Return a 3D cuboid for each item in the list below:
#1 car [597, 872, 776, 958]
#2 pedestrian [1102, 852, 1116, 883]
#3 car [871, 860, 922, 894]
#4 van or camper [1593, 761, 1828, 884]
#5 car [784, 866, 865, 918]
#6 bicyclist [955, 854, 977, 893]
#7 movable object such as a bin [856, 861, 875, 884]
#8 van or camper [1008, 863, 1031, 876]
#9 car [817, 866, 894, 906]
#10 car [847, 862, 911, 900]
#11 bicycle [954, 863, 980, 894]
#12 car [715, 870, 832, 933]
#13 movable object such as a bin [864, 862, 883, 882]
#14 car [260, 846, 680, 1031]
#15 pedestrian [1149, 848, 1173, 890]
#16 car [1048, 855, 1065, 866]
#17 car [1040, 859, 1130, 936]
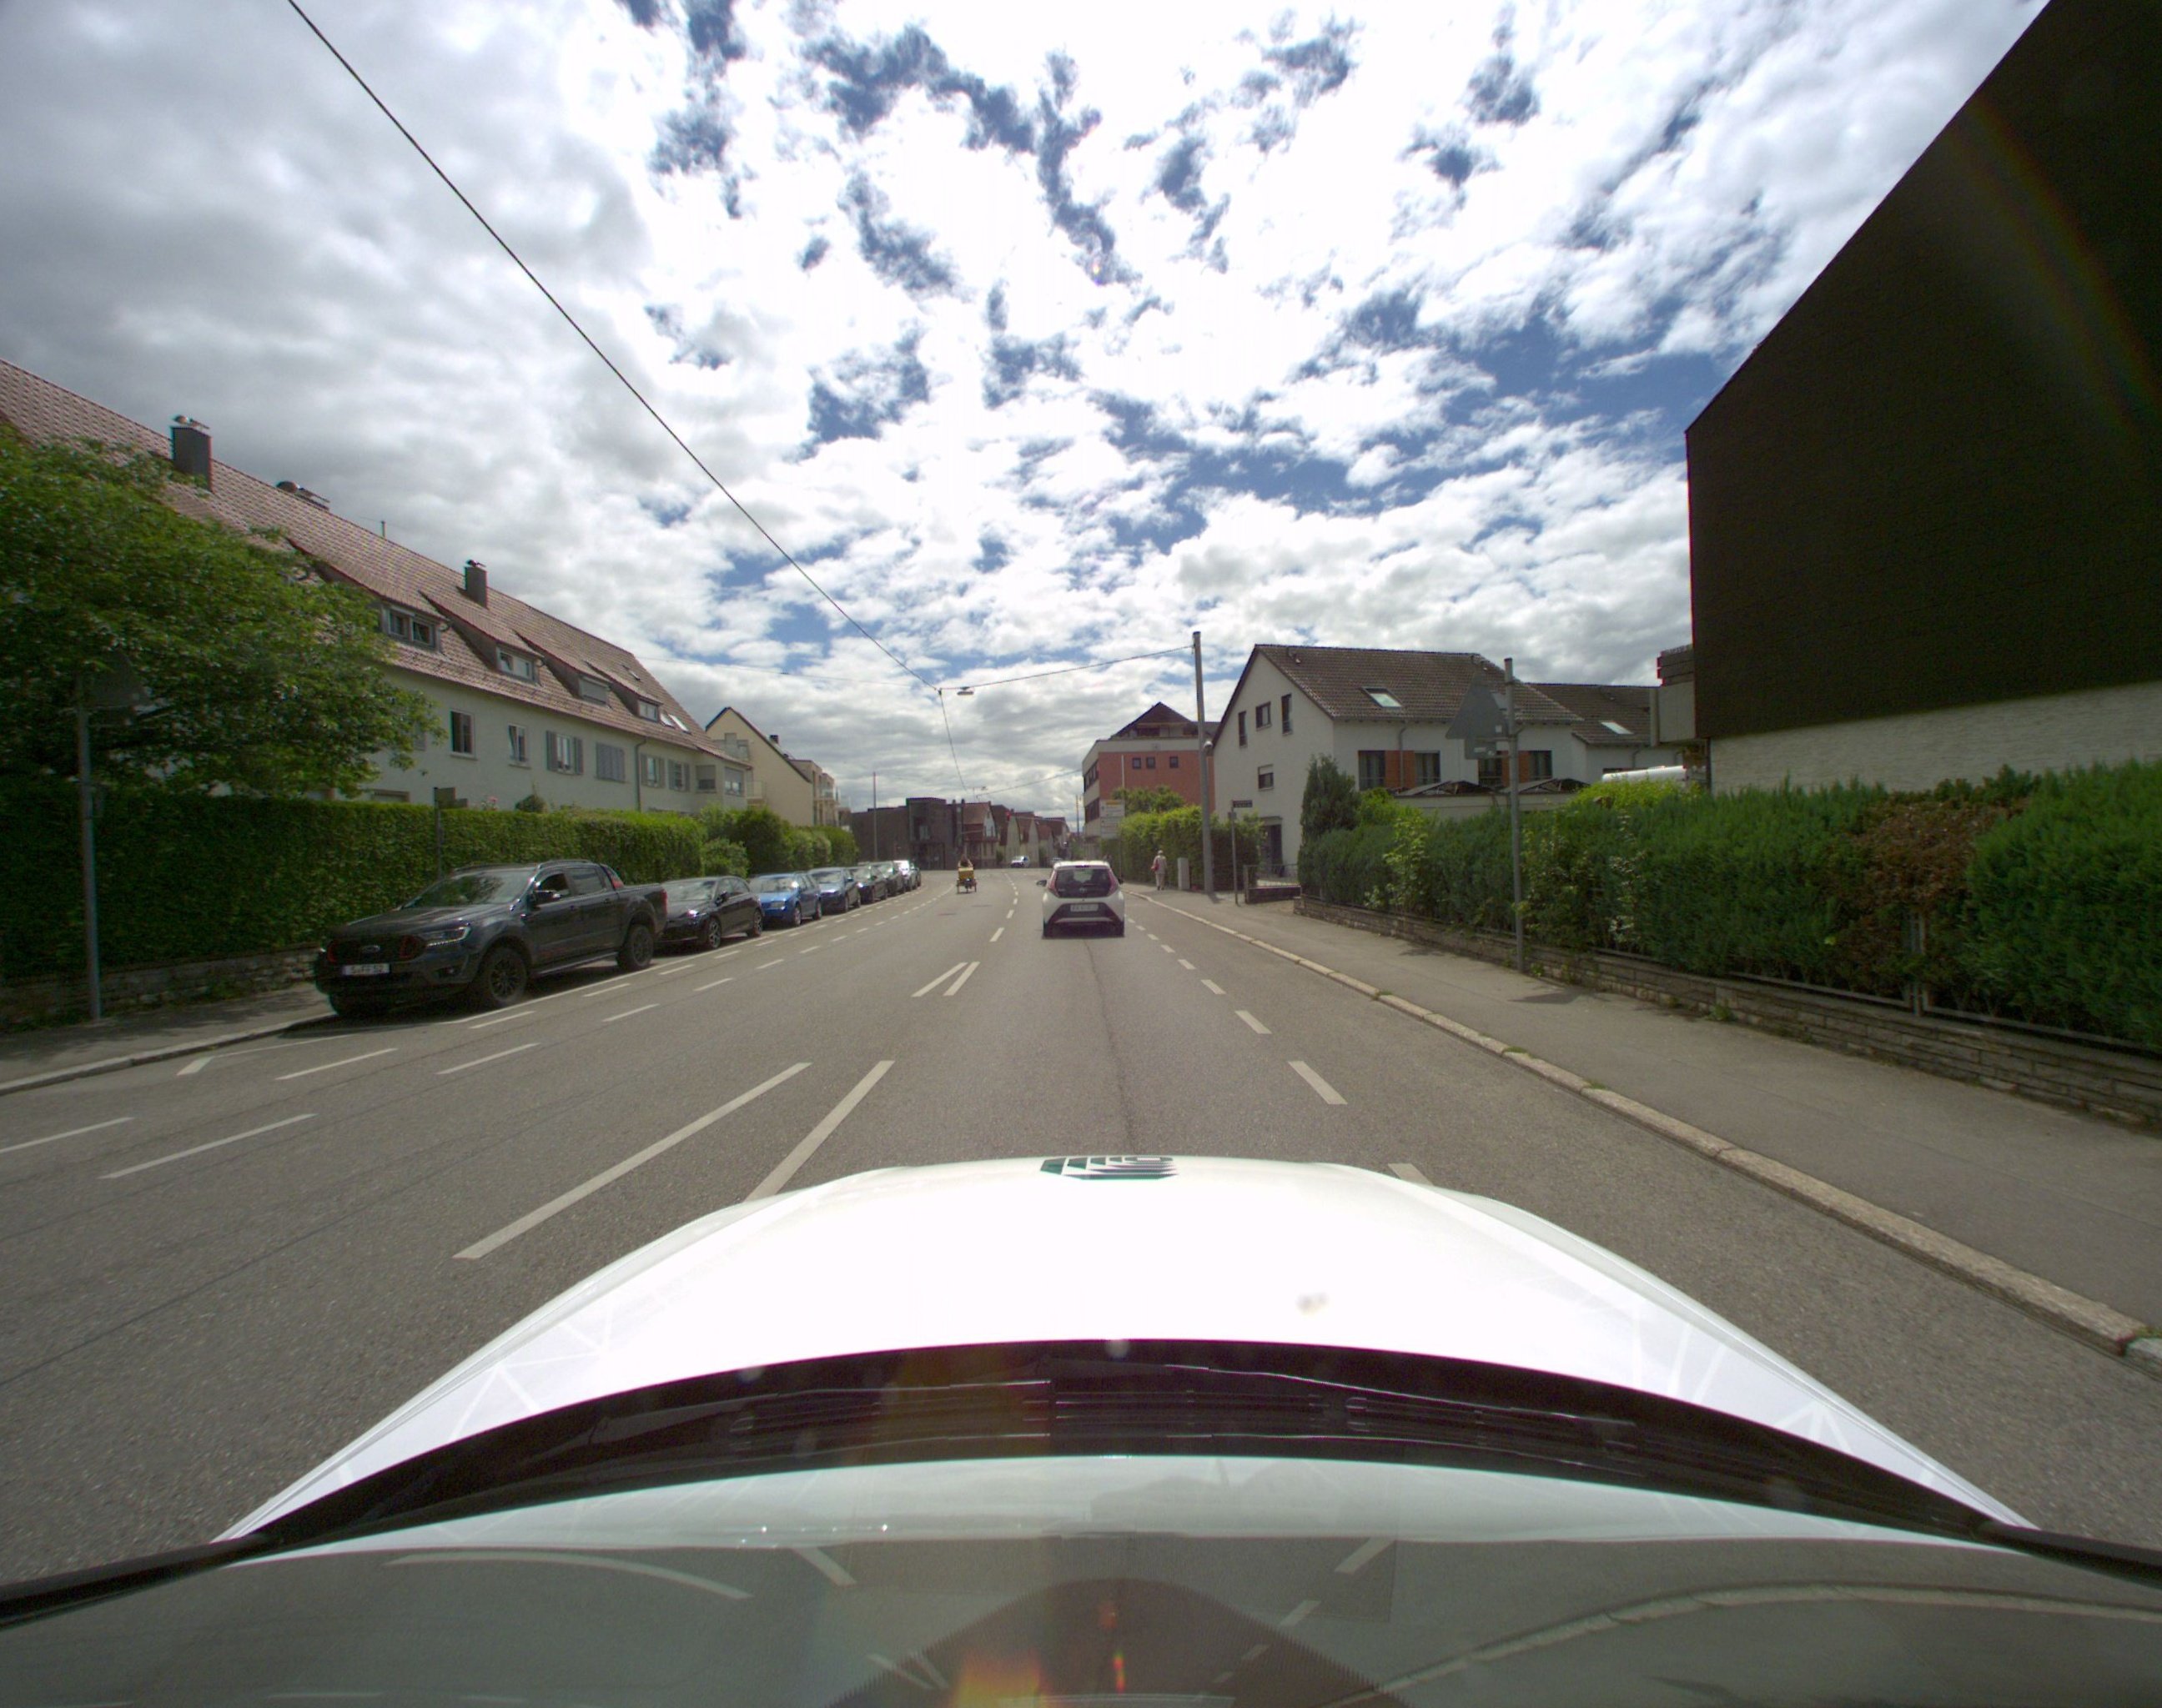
[{"bbox_3d":[-8.082,1.170,17.178,1.774,1.417,4.335,-2,0,-3],"label":"car"},{"bbox_3d":[1.485,0.712,43.151,0.601,1.605,0.835,-4,0,-4],"label":"pedestrian"},{"bbox_3d":[-9.862,1.171,43.879,1.990,1.651,4.509,-2,0,-5],"label":"car"},{"bbox_3d":[19.437,-0.818,24.968,8.707,3.302,2.396,0,-1,-29],"label":"van or camper"},{"bbox_3d":[-8.546,1.203,27.491,1.776,1.491,4.554,-2,0,-7],"label":"car"},{"bbox_3d":[-5.238,0.884,37.267,0.790,1.713,1.208,-2,0,0],"label":"bicyclist"},{"bbox_3d":[-14.819,1.274,55.975,1.064,1.482,1.211,-2,0,-7],"label":"movable object such as a bin"},{"bbox_3d":[-9.126,2.276,121.779,2.102,1.926,5.300,0,-1,10],"label":"van or camper"},{"bbox_3d":[-9.041,1.238,33.060,1.989,1.408,4.684,-2,0,-3],"label":"car"},{"bbox_3d":[-9.506,1.228,38.696,1.989,1.564,4.684,-2,0,-3],"label":"car"},{"bbox_3d":[-5.192,1.102,37.231,0.861,1.301,2.660,-2,0,-1],"label":"bicycle"},{"bbox_3d":[-8.316,1.228,22.471,1.774,1.417,4.433,-2,0,-4],"label":"car"},{"bbox_3d":[-14.579,1.272,57.251,1.063,1.313,1.212,-2,0,-4],"label":"movable object such as a bin"},{"bbox_3d":[-8.054,0.934,11.678,1.989,1.895,5.399,-4,0,-2],"label":"car"},{"bbox_3d":[3.212,0.605,32.687,0.797,1.617,0.652,-3,0,-4],"label":"pedestrian"},{"bbox_3d":[-3.965,1.054,132.360,1.982,1.904,4.010,0,-1,9],"label":"car"},{"bbox_3d":[0.067,0.841,17.060,1.692,1.456,3.298,0,-1,0],"label":"car"}]
